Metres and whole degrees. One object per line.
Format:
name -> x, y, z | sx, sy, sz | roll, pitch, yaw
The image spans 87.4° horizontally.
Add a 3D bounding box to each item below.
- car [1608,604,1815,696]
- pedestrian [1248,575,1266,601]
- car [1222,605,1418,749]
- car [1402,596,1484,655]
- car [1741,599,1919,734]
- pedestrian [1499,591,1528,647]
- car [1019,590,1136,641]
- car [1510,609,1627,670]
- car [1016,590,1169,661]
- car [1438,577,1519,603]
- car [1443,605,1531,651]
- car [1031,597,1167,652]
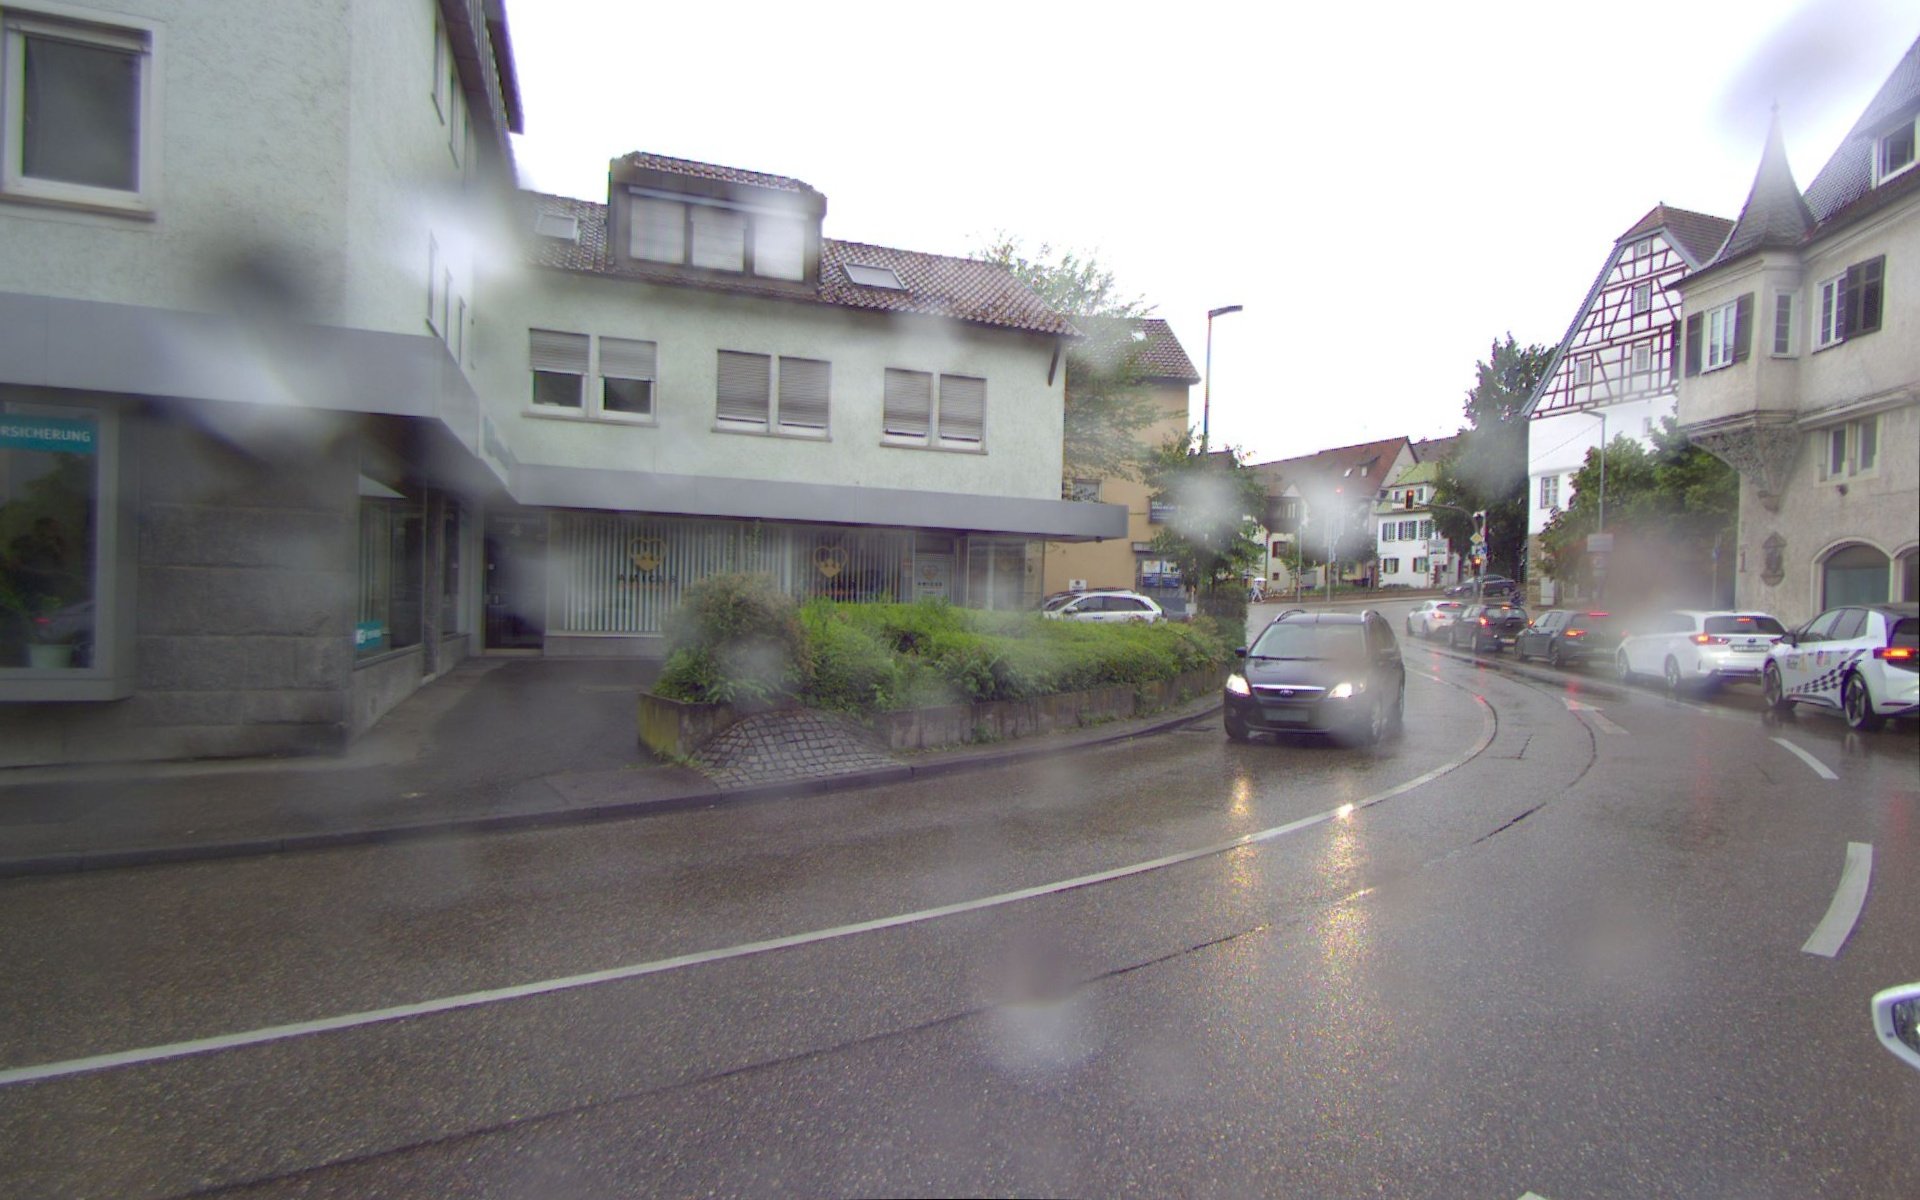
car -> 13.963, 0.847, 18.972 | 1.755, 1.485, 4.165 | 0, 1, 16
pedestrian -> 20.425, -0.826, 69.074 | 1.126, 1.765, 1.005 | 1, 0, 18
car -> 4.811, 0.870, 13.033 | 1.706, 1.530, 4.266 | -1, -1, 29
car -> 18.646, 0.938, 38.962 | 1.939, 2.118, 3.963 | 0, 1, 11
car -> 12.172, 0.781, 13.325 | 1.760, 1.537, 4.239 | -1, -1, 22
pedestrian -> 23.678, 0.811, 42.973 | 0.851, 2.357, 1.231 | 1, 0, 18
car -> 3.799, 0.490, 32.694 | 3.472, 1.597, 1.710 | 0, 1, -8
car -> 15.621, 0.971, 25.983 | 1.493, 1.380, 3.769 | 0, 1, 13
car -> 3.283, 0.624, 25.192 | 3.472, 1.708, 1.710 | 0, 1, -8
car -> 33.518, -0.623, 64.971 | 4.446, 1.409, 1.648 | 1, 7, -8
car -> 16.967, 0.863, 32.483 | 1.634, 1.330, 3.625 | 0, 1, 13
car -> 3.868, 0.676, 28.243 | 3.472, 1.475, 1.710 | 0, 1, -8
